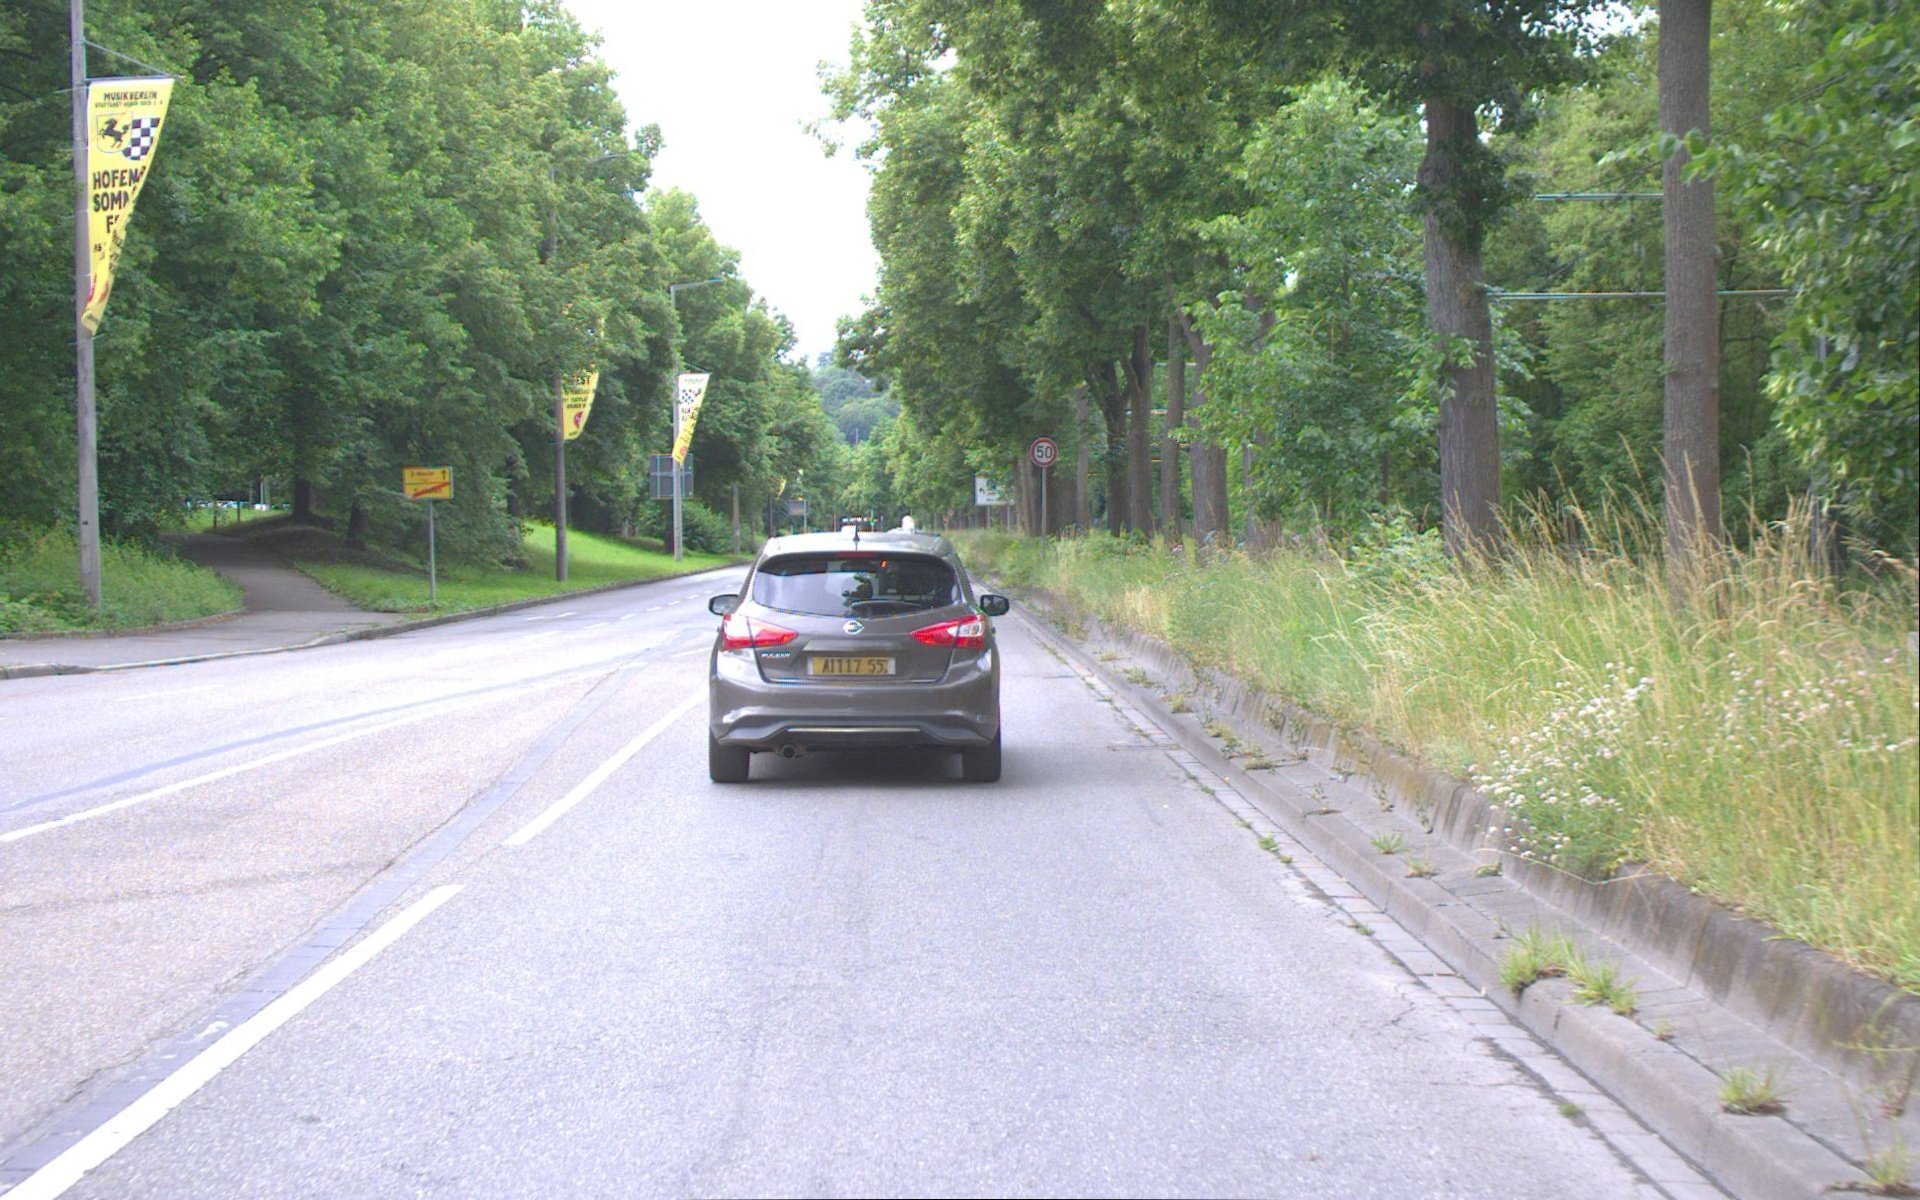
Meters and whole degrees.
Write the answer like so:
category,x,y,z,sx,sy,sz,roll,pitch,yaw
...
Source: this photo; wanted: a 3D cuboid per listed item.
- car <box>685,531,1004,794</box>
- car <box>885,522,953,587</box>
category,x,y,z,sx,sy,sz,roll,pitch,yaw
car,-0.650,0.340,22.046,1.837,1.523,3.929,0,1,1
car,-0.959,-1.089,82.397,1.503,1.523,3.671,1,1,1
